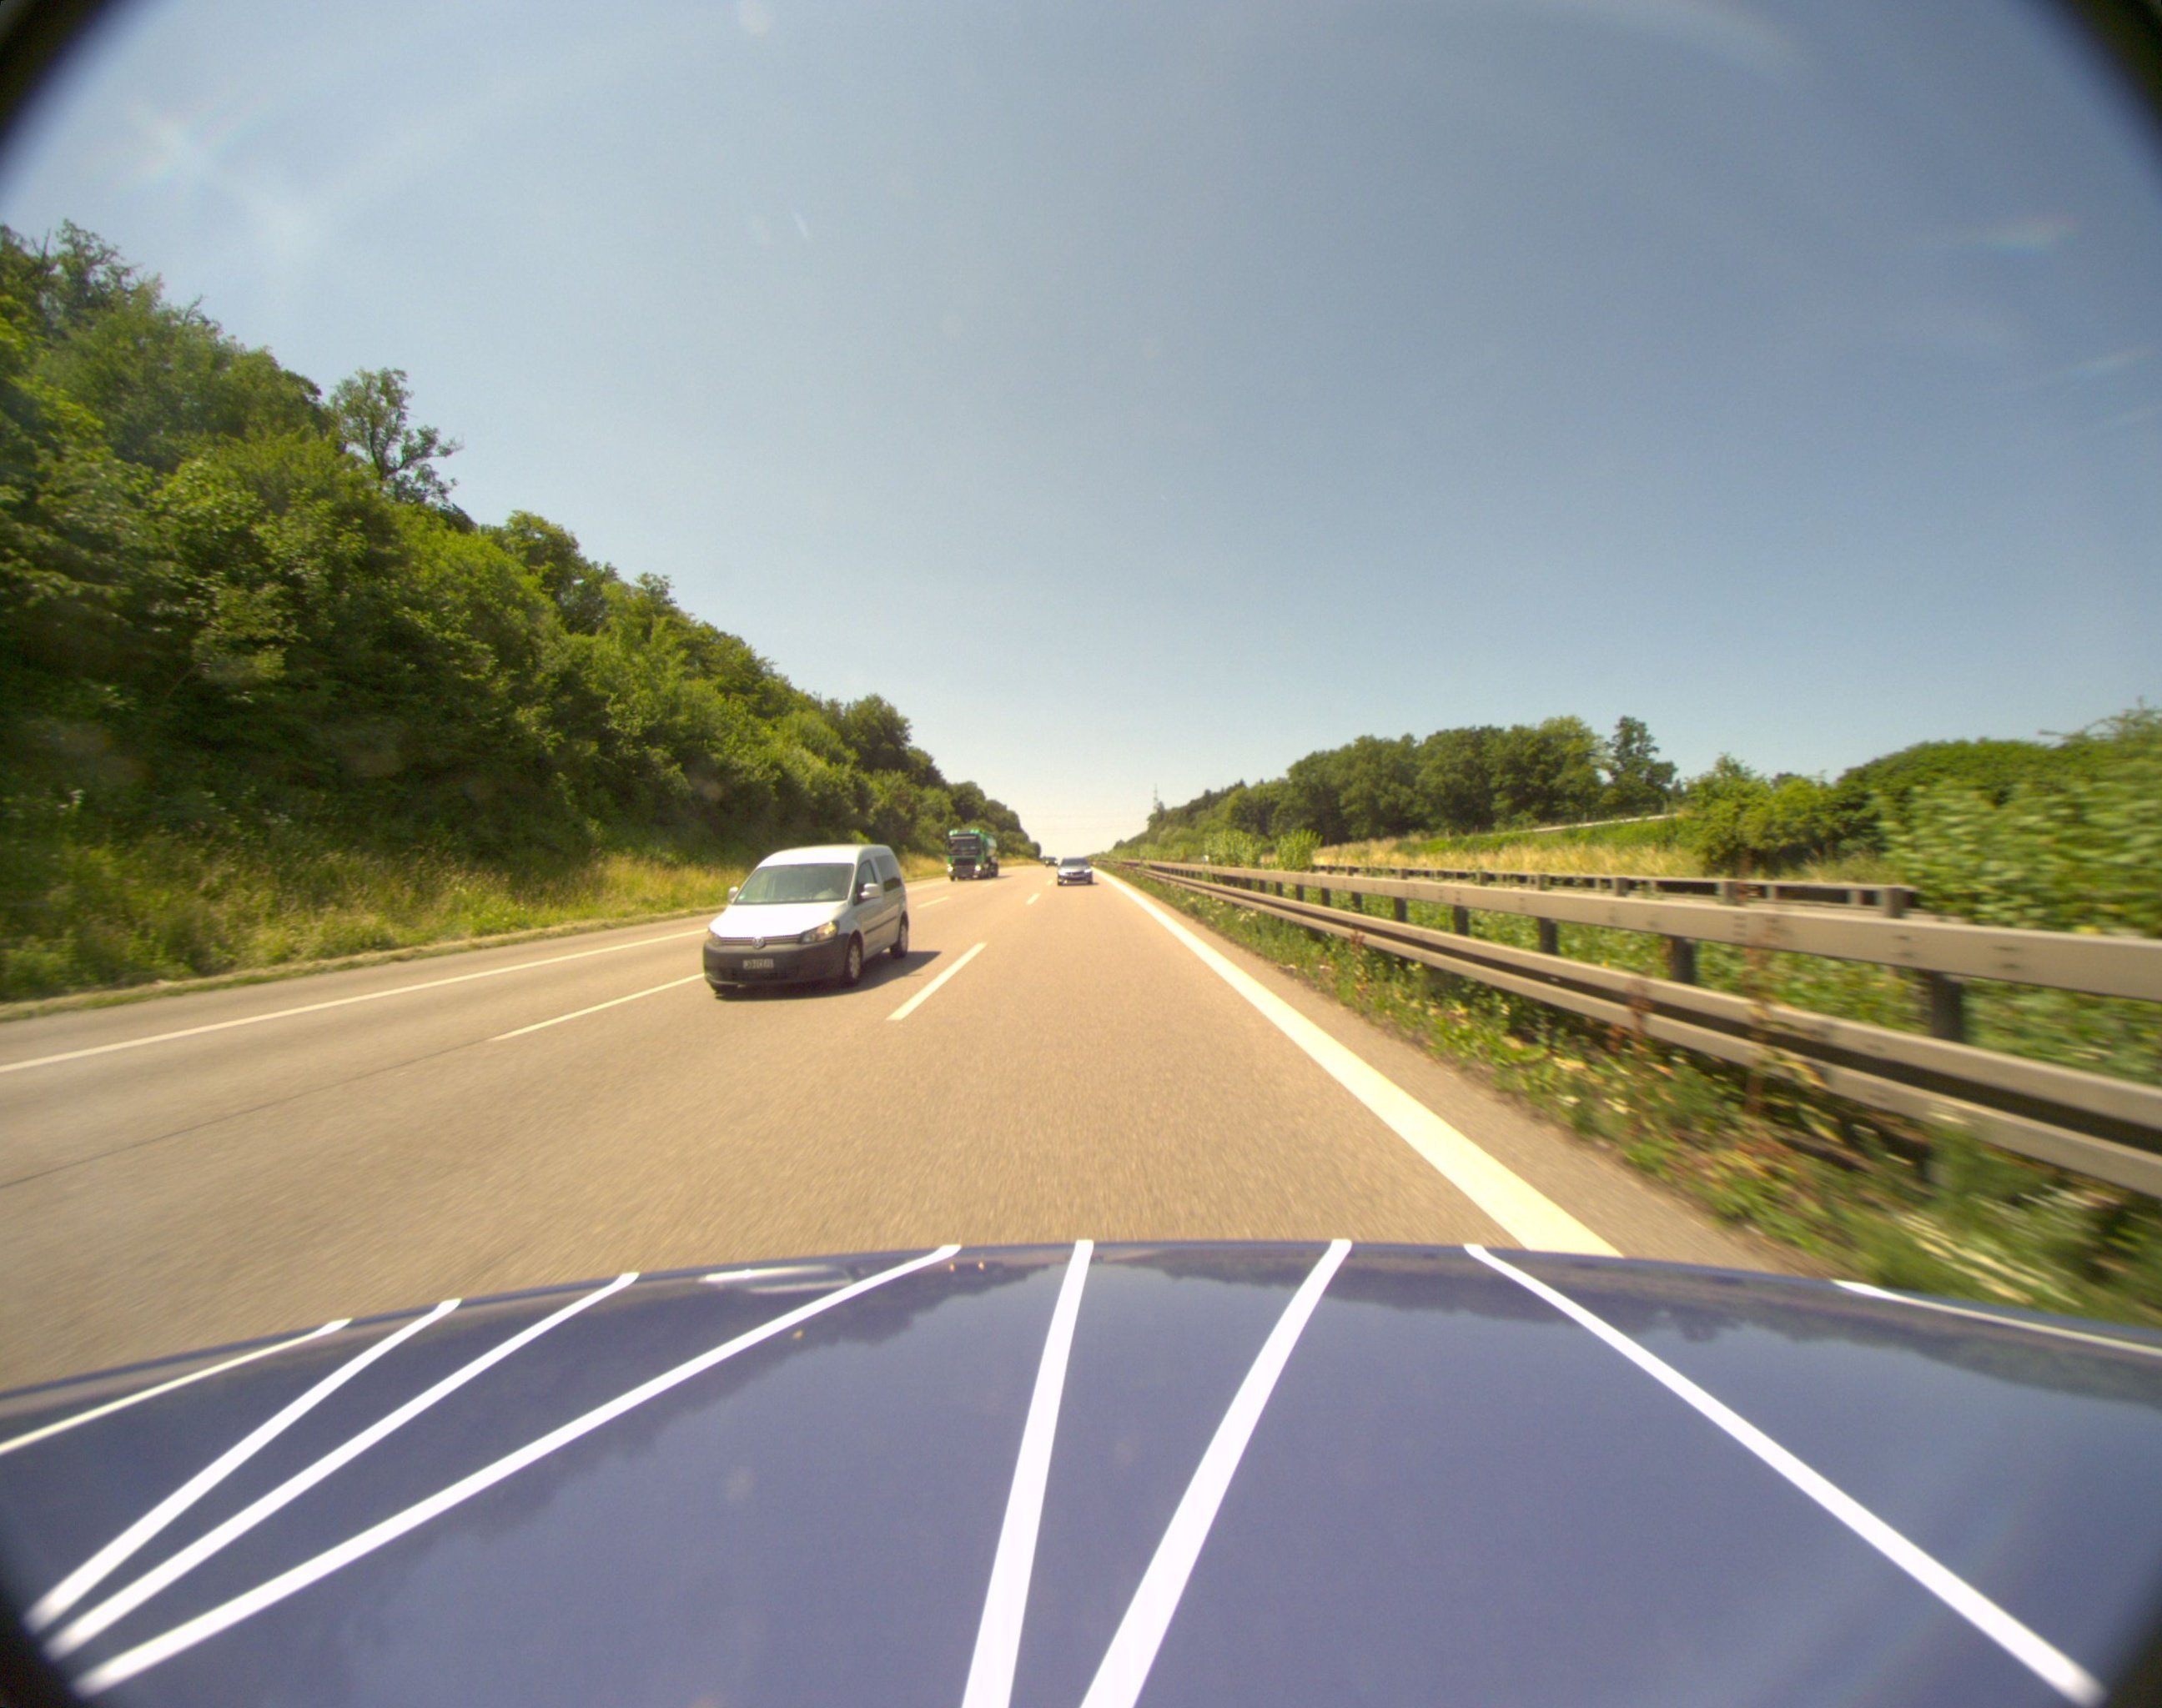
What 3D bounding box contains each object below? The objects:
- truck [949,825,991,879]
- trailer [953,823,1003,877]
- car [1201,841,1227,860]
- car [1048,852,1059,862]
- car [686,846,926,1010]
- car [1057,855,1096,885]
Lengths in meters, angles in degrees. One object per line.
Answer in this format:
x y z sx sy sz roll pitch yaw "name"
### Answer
-8.300 -0.121 57.318 2.516 3.819 4.892 -2 0 -2 "truck"
-8.380 -0.257 63.063 2.594 4.004 10.470 -2 -1 0 "trailer"
13.639 -0.368 77.981 1.805 1.805 4.289 -2 -1 0 "car"
-4.453 0.453 122.578 1.788 1.550 3.943 -2 -1 -2 "car"
-3.648 0.846 11.138 1.750 1.819 4.800 -2 0 -1 "car"
-0.207 0.812 39.939 1.768 1.400 4.000 -2 -1 3 "car"
